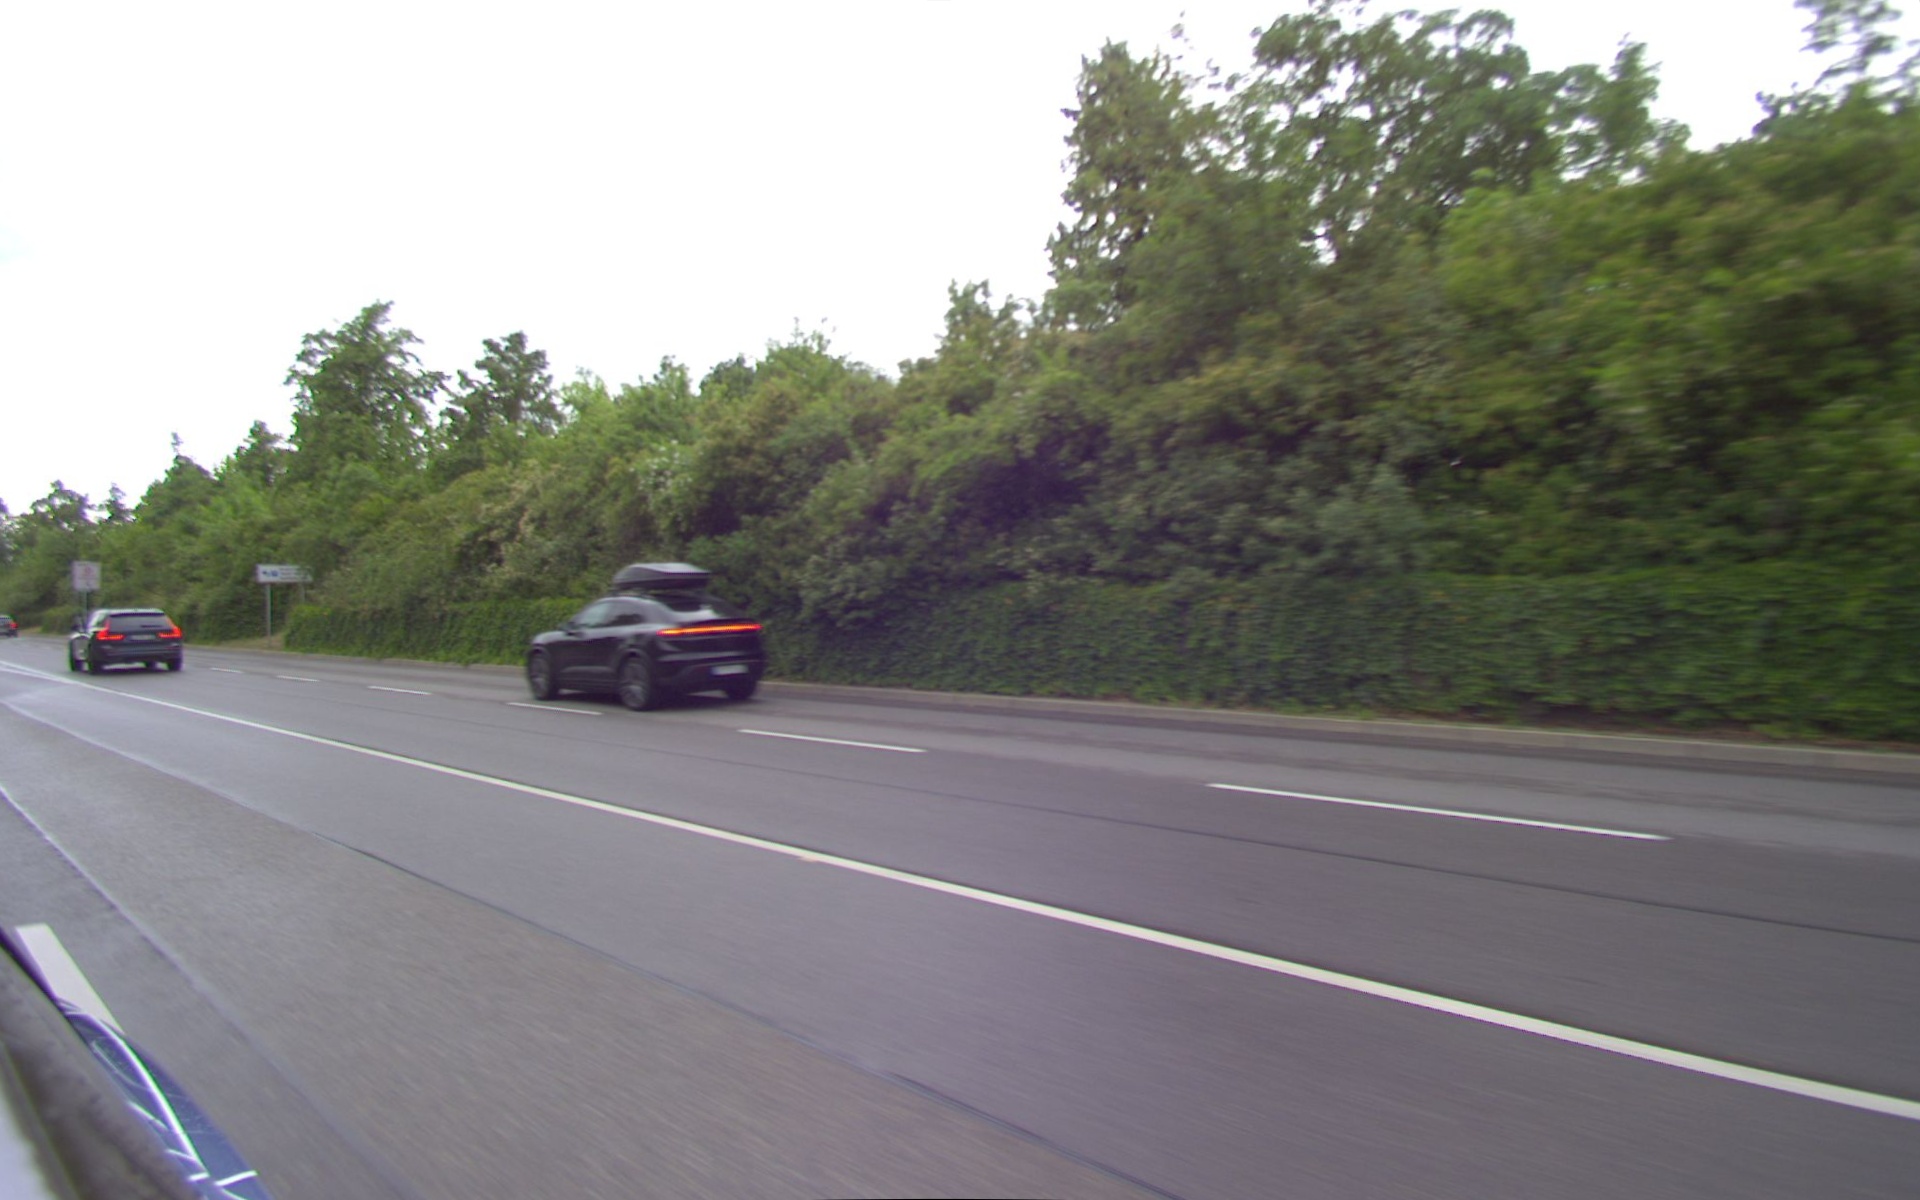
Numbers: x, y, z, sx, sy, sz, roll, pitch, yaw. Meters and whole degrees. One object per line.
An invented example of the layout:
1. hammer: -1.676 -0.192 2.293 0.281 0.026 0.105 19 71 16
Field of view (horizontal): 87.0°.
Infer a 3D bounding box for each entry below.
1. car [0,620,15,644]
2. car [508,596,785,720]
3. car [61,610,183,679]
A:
1. car: -61.788 2.034 64.753 3.694 1.448 1.533 -1 0 41
2. car: -4.877 0.785 15.369 4.629 1.564 1.879 -1 1 42
3. car: -22.595 1.154 27.224 4.593 1.670 1.793 -1 0 41
